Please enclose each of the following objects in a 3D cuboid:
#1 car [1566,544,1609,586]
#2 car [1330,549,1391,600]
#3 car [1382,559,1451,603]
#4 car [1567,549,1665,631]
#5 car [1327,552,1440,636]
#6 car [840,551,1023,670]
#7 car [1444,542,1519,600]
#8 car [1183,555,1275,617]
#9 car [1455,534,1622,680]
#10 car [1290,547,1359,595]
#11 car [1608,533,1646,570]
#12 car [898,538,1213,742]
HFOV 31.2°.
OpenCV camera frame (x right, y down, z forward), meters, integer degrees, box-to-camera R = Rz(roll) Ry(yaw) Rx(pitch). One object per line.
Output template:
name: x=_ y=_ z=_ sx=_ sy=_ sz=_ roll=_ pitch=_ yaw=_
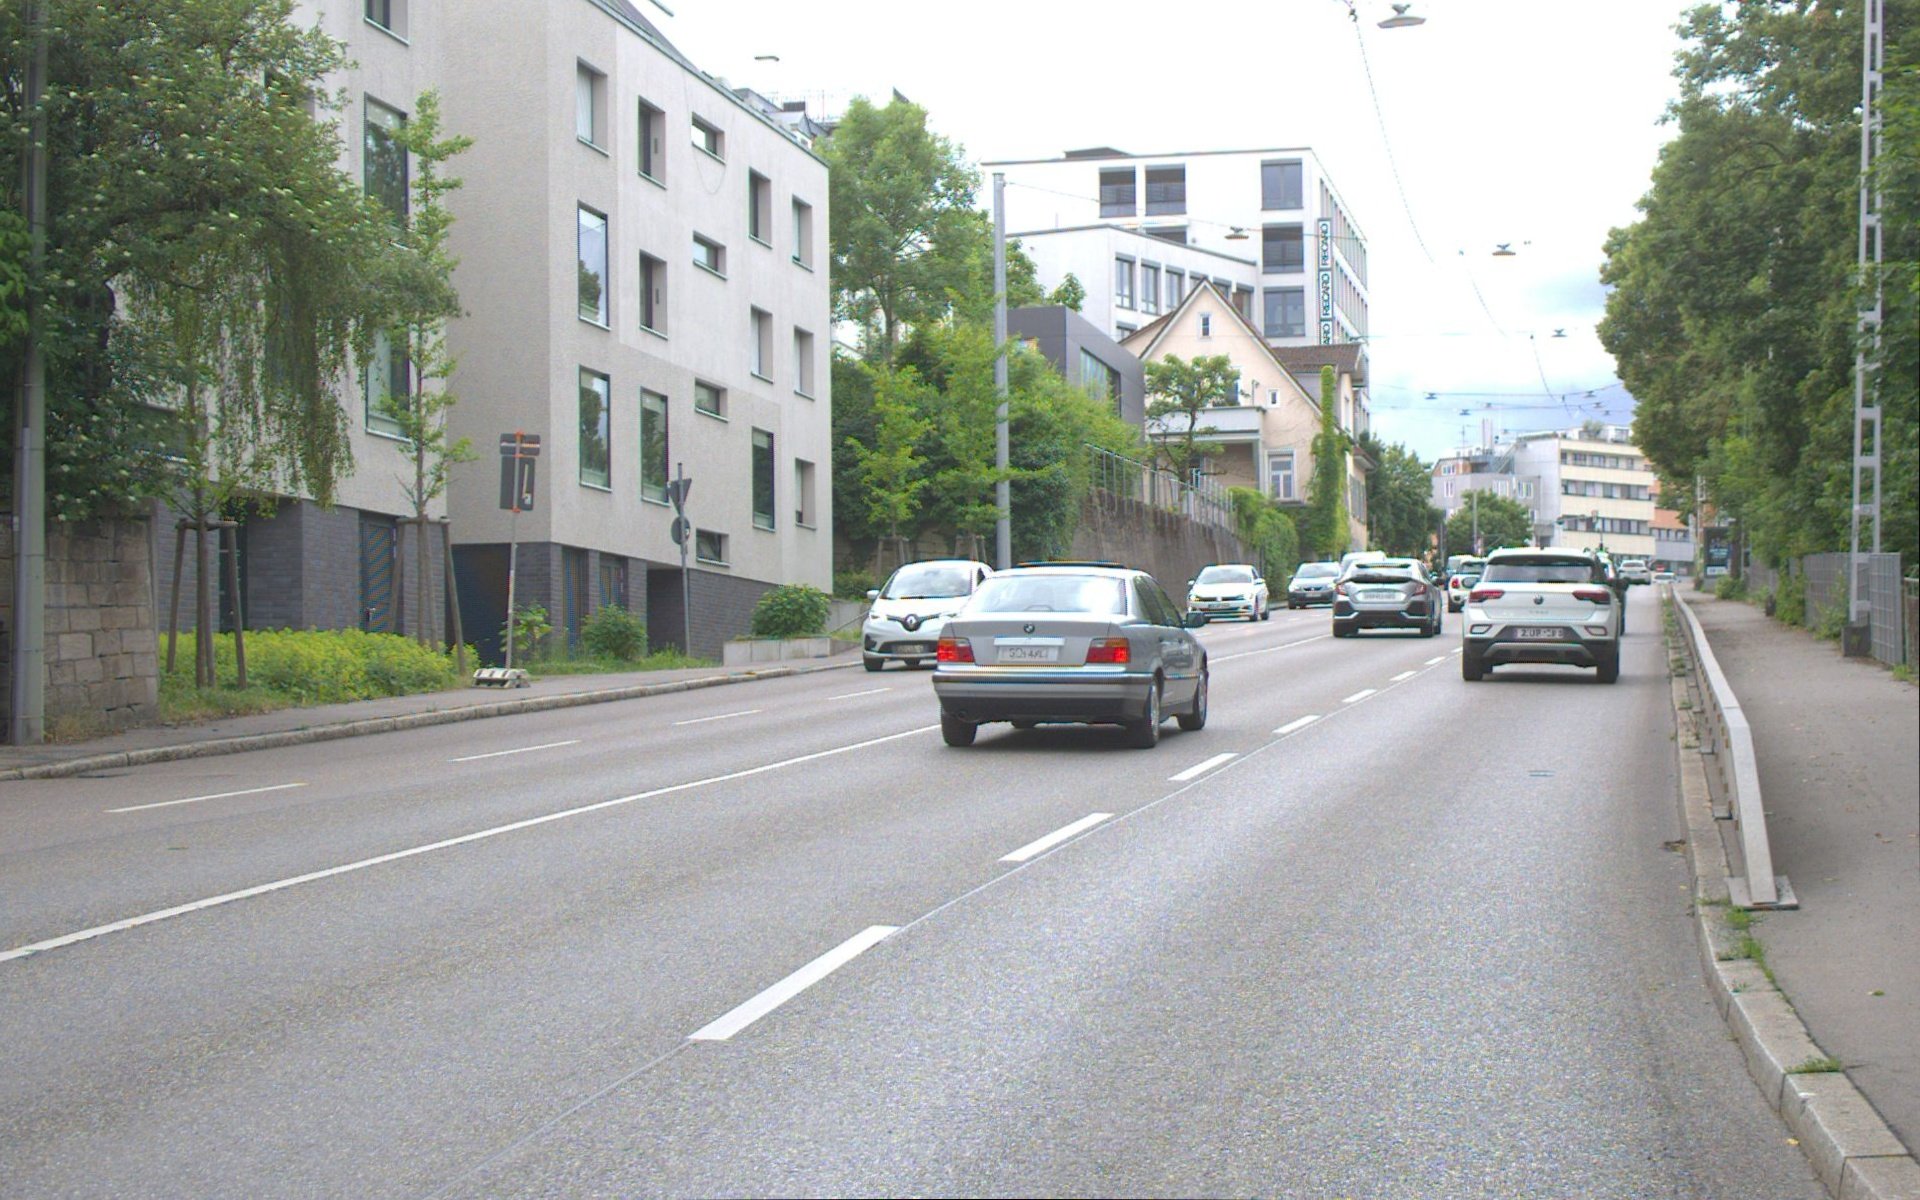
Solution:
car: x=32.020 y=-1.768 z=175.407 sx=1.995 sy=2.007 sz=3.998 roll=2 pitch=0 yaw=12
car: x=14.778 y=-0.970 z=126.644 sx=1.733 sy=1.782 sz=4.864 roll=-2 pitch=0 yaw=12
car: x=14.057 y=-0.591 z=105.758 sx=1.754 sy=1.264 sz=4.189 roll=-2 pitch=0 yaw=12
car: x=12.464 y=-0.186 z=65.186 sx=1.707 sy=1.459 sz=3.998 roll=2 pitch=0 yaw=12
car: x=7.751 y=-0.130 z=62.672 sx=1.707 sy=1.459 sz=3.998 roll=-1 pitch=1 yaw=12
car: x=-0.369 y=0.127 z=50.788 sx=1.745 sy=1.608 sz=4.054 roll=-3 pitch=0 yaw=13
car: x=13.716 y=-0.768 z=90.254 sx=1.707 sy=1.459 sz=3.998 roll=-1 pitch=1 yaw=12
car: x=6.834 y=-0.372 z=86.900 sx=1.774 sy=1.459 sz=4.189 roll=-2 pitch=0 yaw=12
car: x=6.914 y=0.064 z=40.832 sx=1.781 sy=1.573 sz=3.998 roll=2 pitch=1 yaw=11
car: x=11.775 y=-0.934 z=110.838 sx=1.733 sy=1.459 sz=4.421 roll=-2 pitch=0 yaw=12
car: x=38.120 y=-2.768 z=196.404 sx=1.995 sy=2.007 sz=3.998 roll=2 pitch=0 yaw=12
car: x=0.831 y=0.292 z=26.979 sx=1.707 sy=1.459 sz=3.998 roll=1 pitch=0 yaw=13
